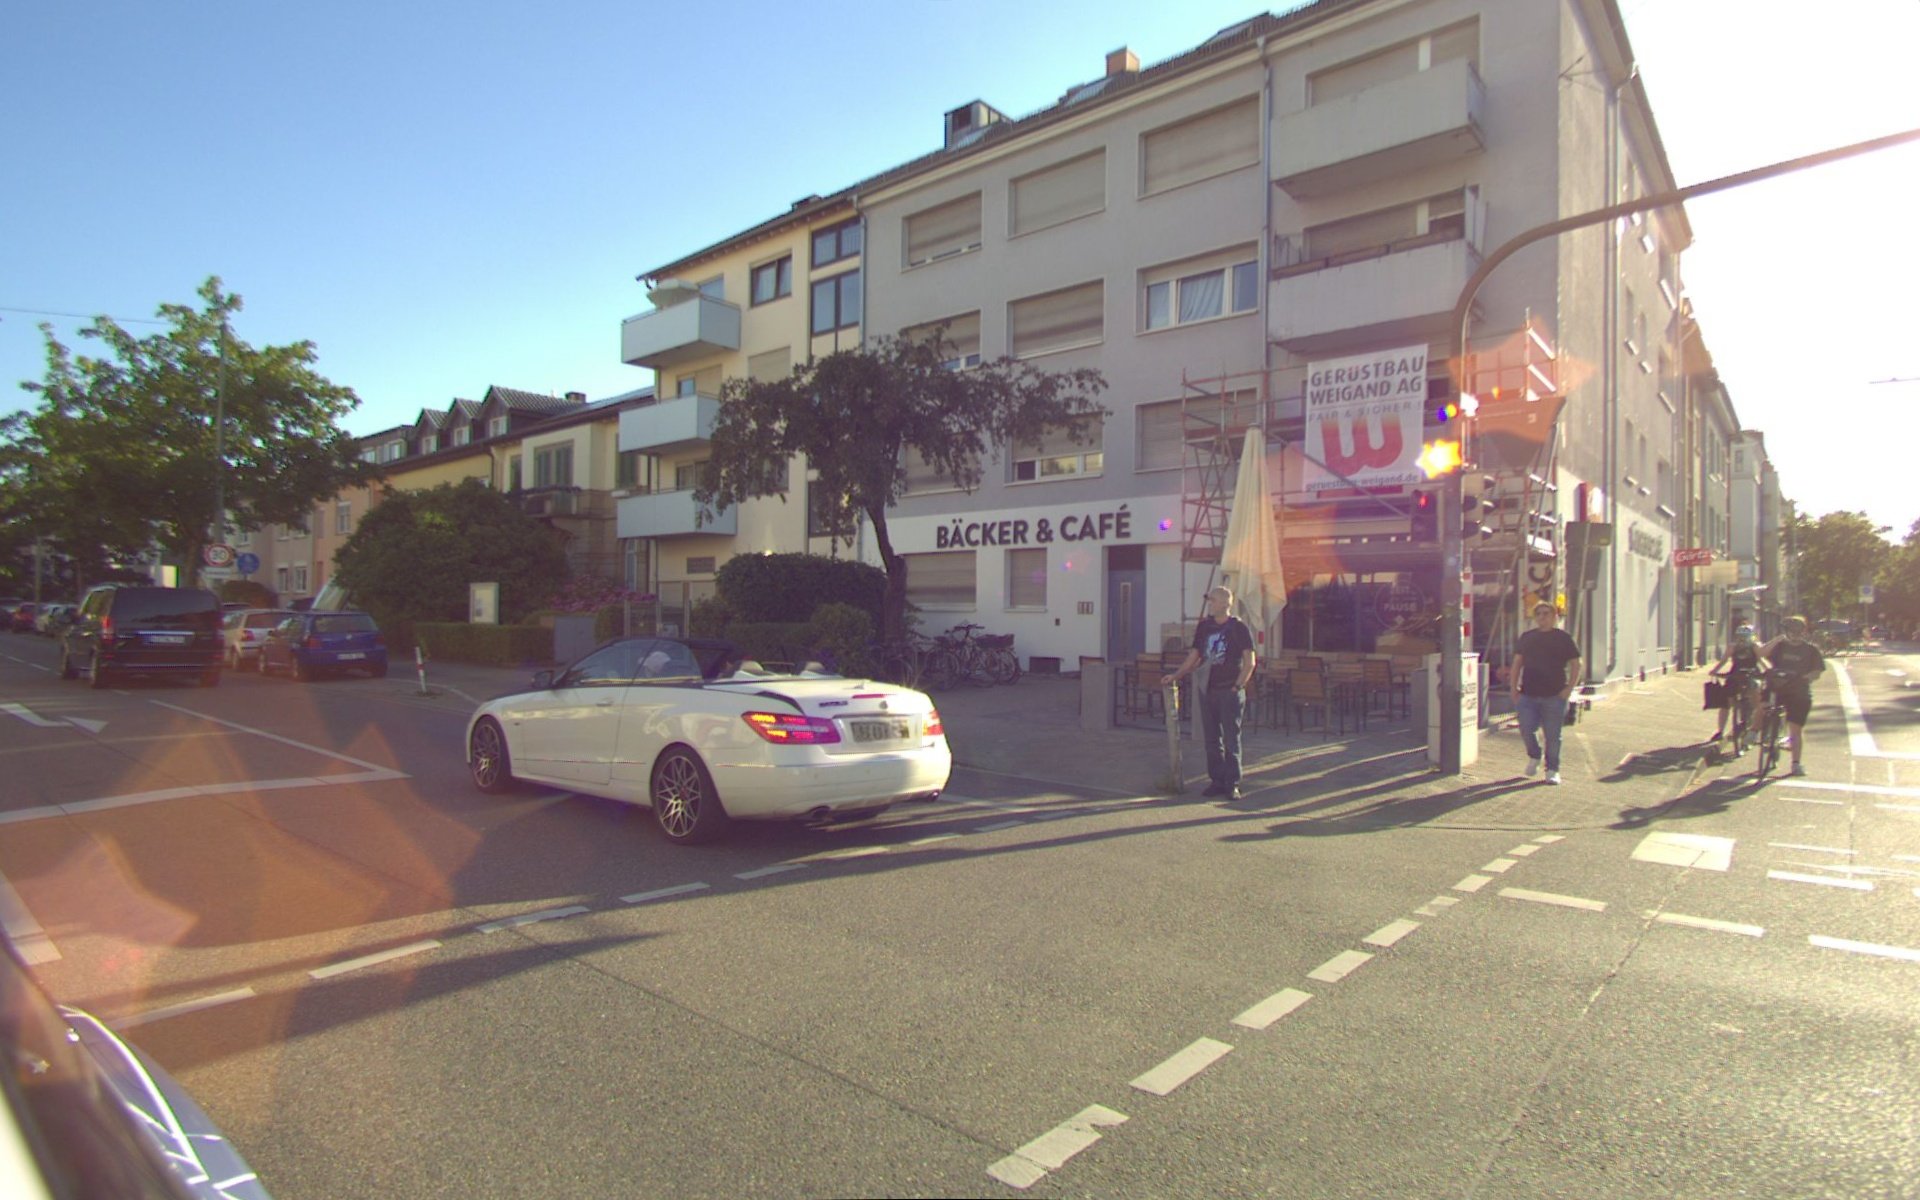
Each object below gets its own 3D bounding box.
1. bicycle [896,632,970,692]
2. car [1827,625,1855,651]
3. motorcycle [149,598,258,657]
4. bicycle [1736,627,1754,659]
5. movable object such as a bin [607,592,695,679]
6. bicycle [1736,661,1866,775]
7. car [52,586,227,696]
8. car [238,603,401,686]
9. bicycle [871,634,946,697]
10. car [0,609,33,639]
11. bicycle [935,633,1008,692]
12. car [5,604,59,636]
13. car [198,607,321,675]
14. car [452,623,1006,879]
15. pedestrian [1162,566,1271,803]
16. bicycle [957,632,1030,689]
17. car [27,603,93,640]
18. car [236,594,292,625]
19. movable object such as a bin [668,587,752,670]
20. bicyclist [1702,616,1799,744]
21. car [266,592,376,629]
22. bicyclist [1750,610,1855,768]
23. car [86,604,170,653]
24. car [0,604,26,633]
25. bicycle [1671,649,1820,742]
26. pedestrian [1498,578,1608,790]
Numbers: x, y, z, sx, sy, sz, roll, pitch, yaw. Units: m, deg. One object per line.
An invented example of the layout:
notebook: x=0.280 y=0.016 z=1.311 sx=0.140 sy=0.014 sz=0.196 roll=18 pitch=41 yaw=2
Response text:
bicycle: x=-0.503 y=1.103 z=18.343 sx=1.477 sy=1.022 sz=0.433 roll=0 pitch=-1 yaw=44
car: x=62.397 y=2.697 z=71.700 sx=1.391 sy=1.754 sz=2.783 roll=0 pitch=-1 yaw=39
motorcycle: x=-20.885 y=0.734 z=27.937 sx=2.877 sy=1.547 sz=1.251 roll=0 pitch=-1 yaw=27
bicycle: x=32.753 y=1.769 z=42.221 sx=0.596 sy=1.309 sz=0.425 roll=0 pitch=-1 yaw=39
movable object such as a bin: x=-6.380 y=0.695 z=20.910 sx=1.180 sy=1.670 sz=1.293 roll=1 pitch=3 yaw=41
bicycle: x=9.332 y=1.256 z=11.200 sx=1.967 sy=1.097 sz=0.729 roll=1 pitch=-2 yaw=-39
car: x=-15.867 y=0.709 z=19.501 sx=4.406 sy=1.891 sz=1.818 roll=0 pitch=-1 yaw=40
car: x=-13.957 y=0.908 z=22.001 sx=3.947 sy=1.626 sz=1.788 roll=0 pitch=-1 yaw=39
bicycle: x=-0.926 y=1.141 z=17.917 sx=1.477 sy=1.022 sz=0.433 roll=0 pitch=-1 yaw=44
car: x=-52.194 y=1.300 z=55.447 sx=3.658 sy=1.575 sz=1.670 roll=0 pitch=-1 yaw=42
bicycle: x=0.202 y=1.141 z=18.906 sx=1.477 sy=1.022 sz=0.433 roll=0 pitch=-1 yaw=44
car: x=-47.115 y=1.004 z=51.382 sx=3.658 sy=1.575 sz=1.621 roll=0 pitch=-1 yaw=42
car: x=-17.381 y=0.969 z=25.054 sx=3.571 sy=1.547 sz=1.732 roll=0 pitch=-1 yaw=43
car: x=-1.962 y=0.891 z=7.722 sx=4.438 sy=1.330 sz=1.822 roll=0 pitch=-2 yaw=40
pedestrian: x=2.320 y=0.730 z=9.147 sx=0.739 sy=2.029 sz=0.631 roll=0 pitch=-1 yaw=42
bicycle: x=0.630 y=1.133 z=19.343 sx=1.477 sy=1.022 sz=0.433 roll=0 pitch=-1 yaw=44
car: x=-42.572 y=0.983 z=47.852 sx=4.408 sy=1.626 sz=1.818 roll=0 pitch=-1 yaw=42
car: x=-38.180 y=0.507 z=55.472 sx=1.816 sy=1.626 sz=4.413 roll=2 pitch=-1 yaw=-44
movable object such as a bin: x=-5.386 y=0.580 z=21.852 sx=1.180 sy=1.670 sz=1.293 roll=1 pitch=3 yaw=41
bicyclist: x=10.439 y=1.039 z=13.379 sx=0.677 sy=1.606 sz=0.752 roll=3 pitch=0 yaw=-30
car: x=-29.666 y=0.495 z=47.139 sx=1.823 sy=1.626 sz=4.395 roll=1 pitch=-1 yaw=10
bicyclist: x=9.310 y=0.956 z=11.187 sx=0.662 sy=1.666 sz=0.751 roll=1 pitch=-2 yaw=-39
car: x=-29.882 y=0.991 z=36.311 sx=4.196 sy=1.626 sz=1.711 roll=0 pitch=-1 yaw=42
car: x=-57.210 y=1.108 z=60.486 sx=3.658 sy=1.679 sz=1.670 roll=0 pitch=-1 yaw=42
bicycle: x=10.387 y=1.246 z=13.356 sx=2.233 sy=1.097 sz=0.730 roll=3 pitch=0 yaw=-30
pedestrian: x=5.986 y=0.802 z=10.221 sx=0.814 sy=2.029 sz=0.637 roll=1 pitch=1 yaw=42
